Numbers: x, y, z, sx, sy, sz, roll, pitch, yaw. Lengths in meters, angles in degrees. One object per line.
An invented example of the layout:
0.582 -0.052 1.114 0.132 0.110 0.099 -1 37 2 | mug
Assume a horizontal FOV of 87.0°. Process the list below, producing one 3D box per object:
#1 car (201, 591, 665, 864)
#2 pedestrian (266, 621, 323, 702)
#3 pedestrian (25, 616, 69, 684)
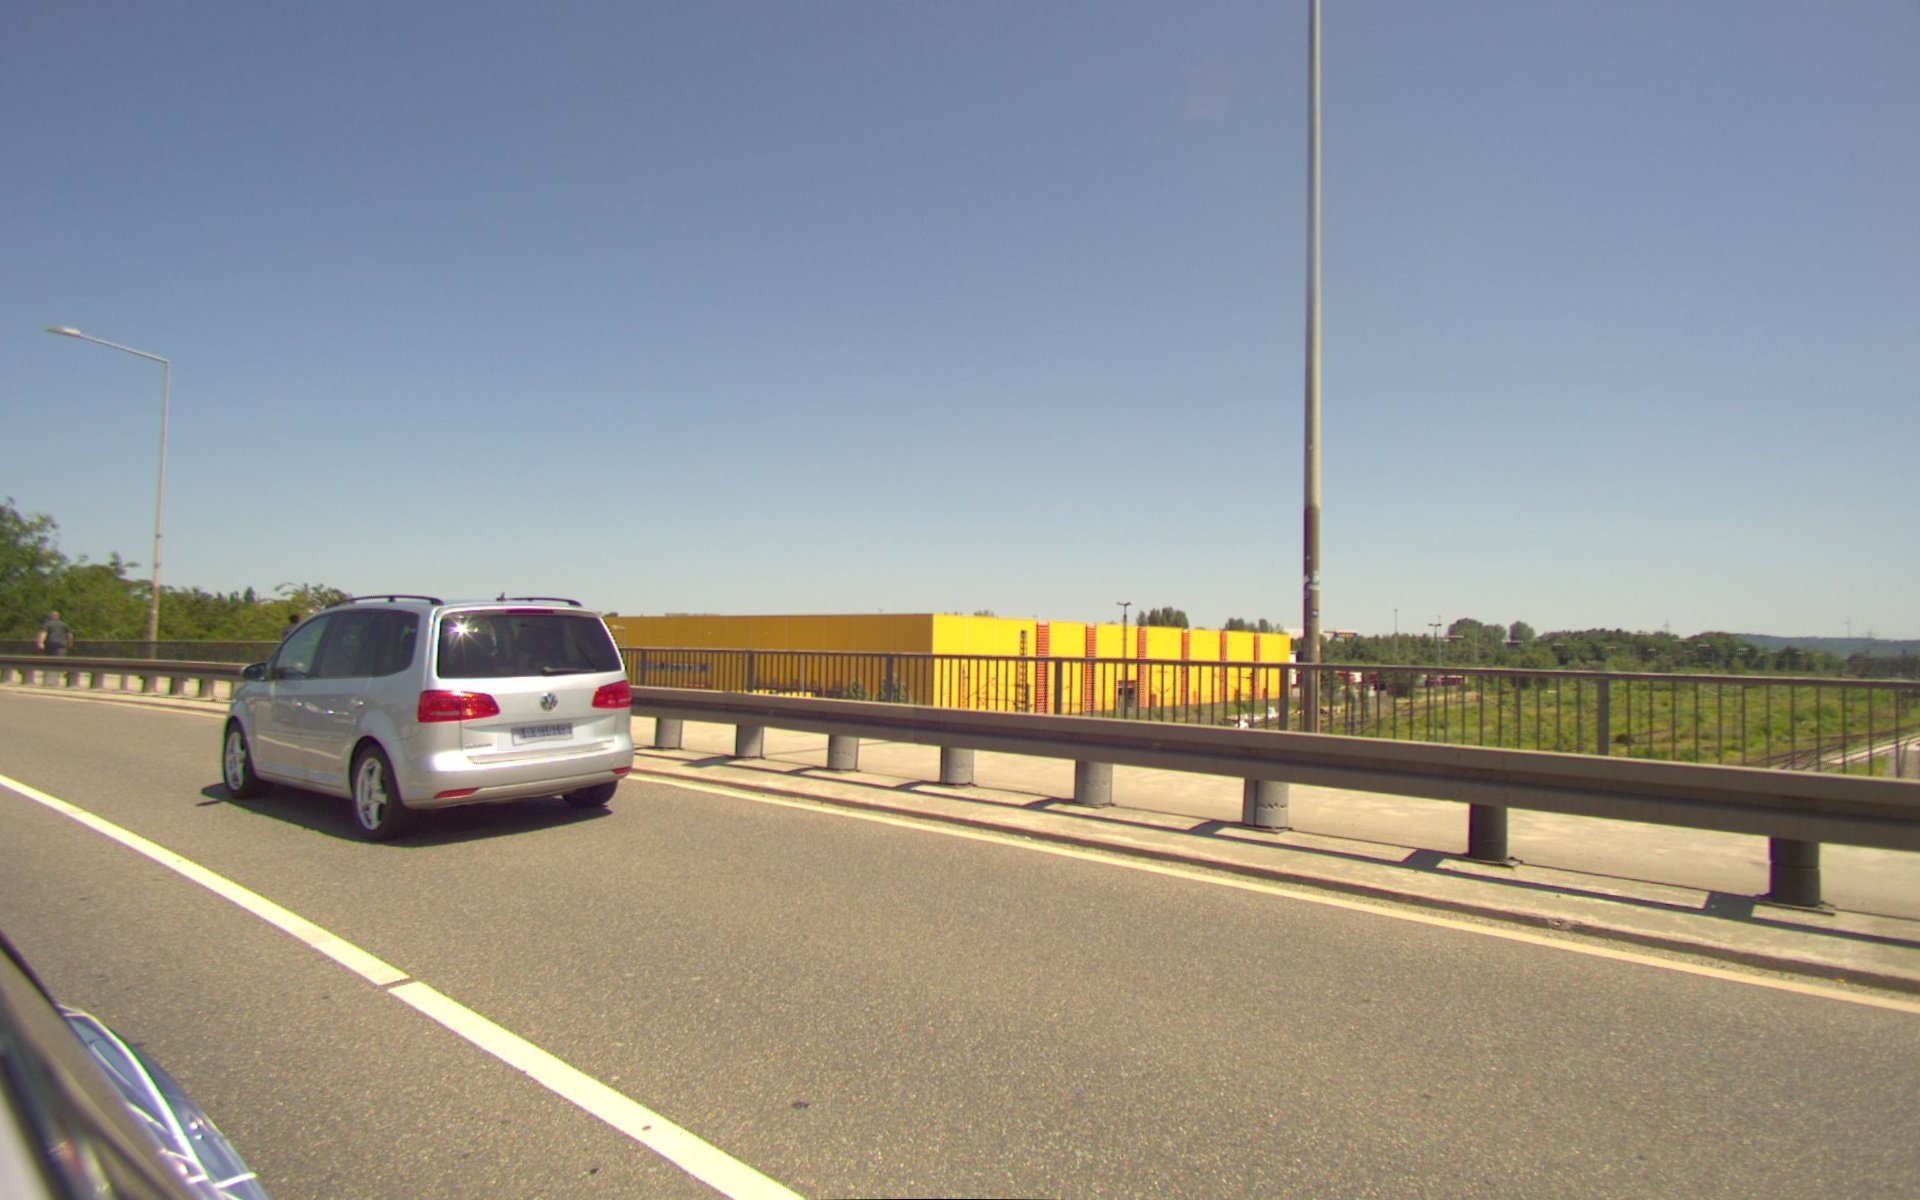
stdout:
-4.299 0.805 8.000 4.113 1.627 1.699 -1 -2 38 | car
-13.295 1.213 20.209 0.693 1.573 0.708 -1 -3 36 | pedestrian
-24.580 1.328 27.252 0.808 1.796 0.634 0 0 27 | pedestrian
